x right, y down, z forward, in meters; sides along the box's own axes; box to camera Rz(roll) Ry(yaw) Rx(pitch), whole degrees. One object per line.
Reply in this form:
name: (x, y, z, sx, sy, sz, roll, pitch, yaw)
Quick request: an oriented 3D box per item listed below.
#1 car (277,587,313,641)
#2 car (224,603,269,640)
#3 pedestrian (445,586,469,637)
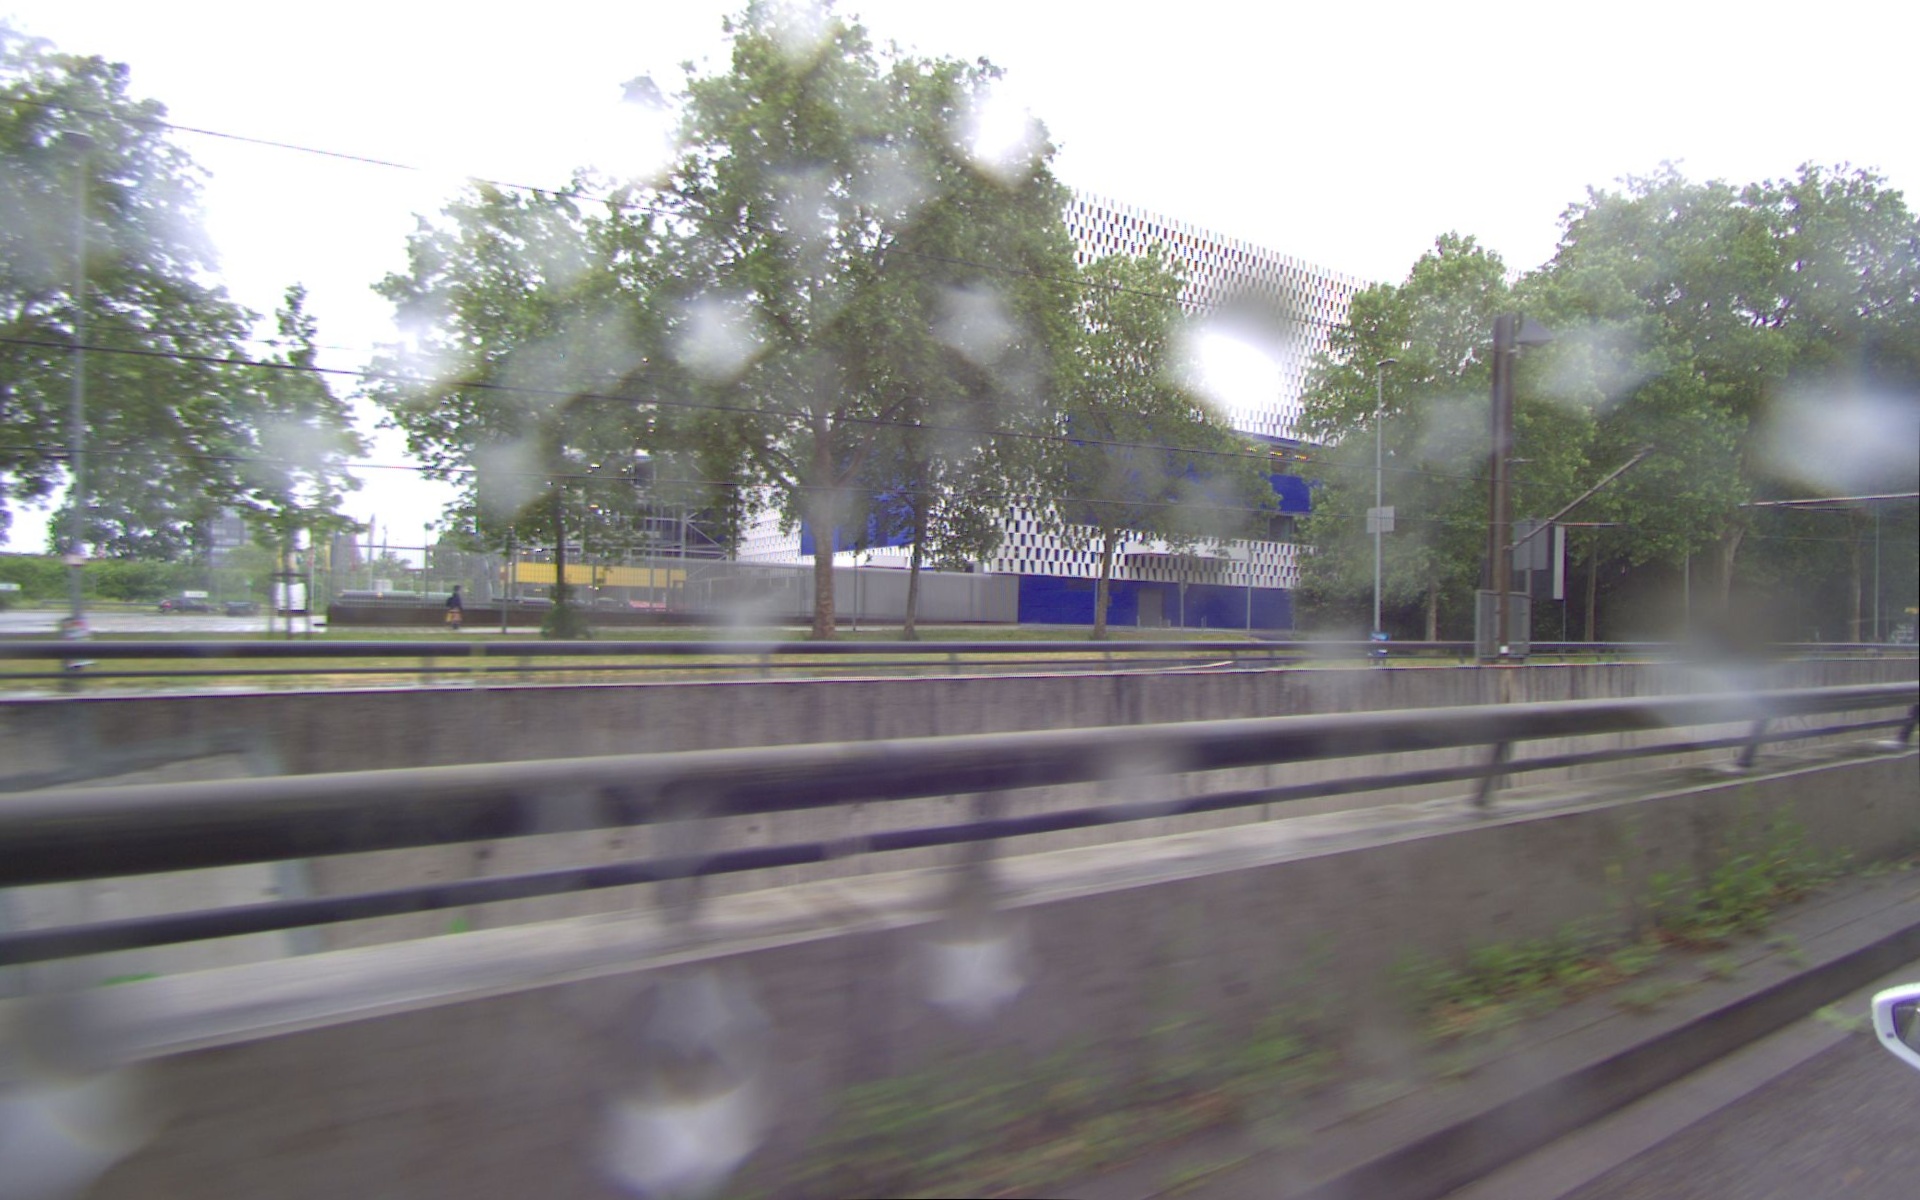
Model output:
car: (-52.654, 1.107, 79.621, 2.189, 4.160, 5.308, 1, -1, -32)
car: (-55.865, 1.655, 78.722, 2.184, 2.863, 3.974, 1, -1, -25)
pedestrian: (-20.544, 0.477, 41.036, 0.781, 2.040, 0.997, 1, 1, -30)
